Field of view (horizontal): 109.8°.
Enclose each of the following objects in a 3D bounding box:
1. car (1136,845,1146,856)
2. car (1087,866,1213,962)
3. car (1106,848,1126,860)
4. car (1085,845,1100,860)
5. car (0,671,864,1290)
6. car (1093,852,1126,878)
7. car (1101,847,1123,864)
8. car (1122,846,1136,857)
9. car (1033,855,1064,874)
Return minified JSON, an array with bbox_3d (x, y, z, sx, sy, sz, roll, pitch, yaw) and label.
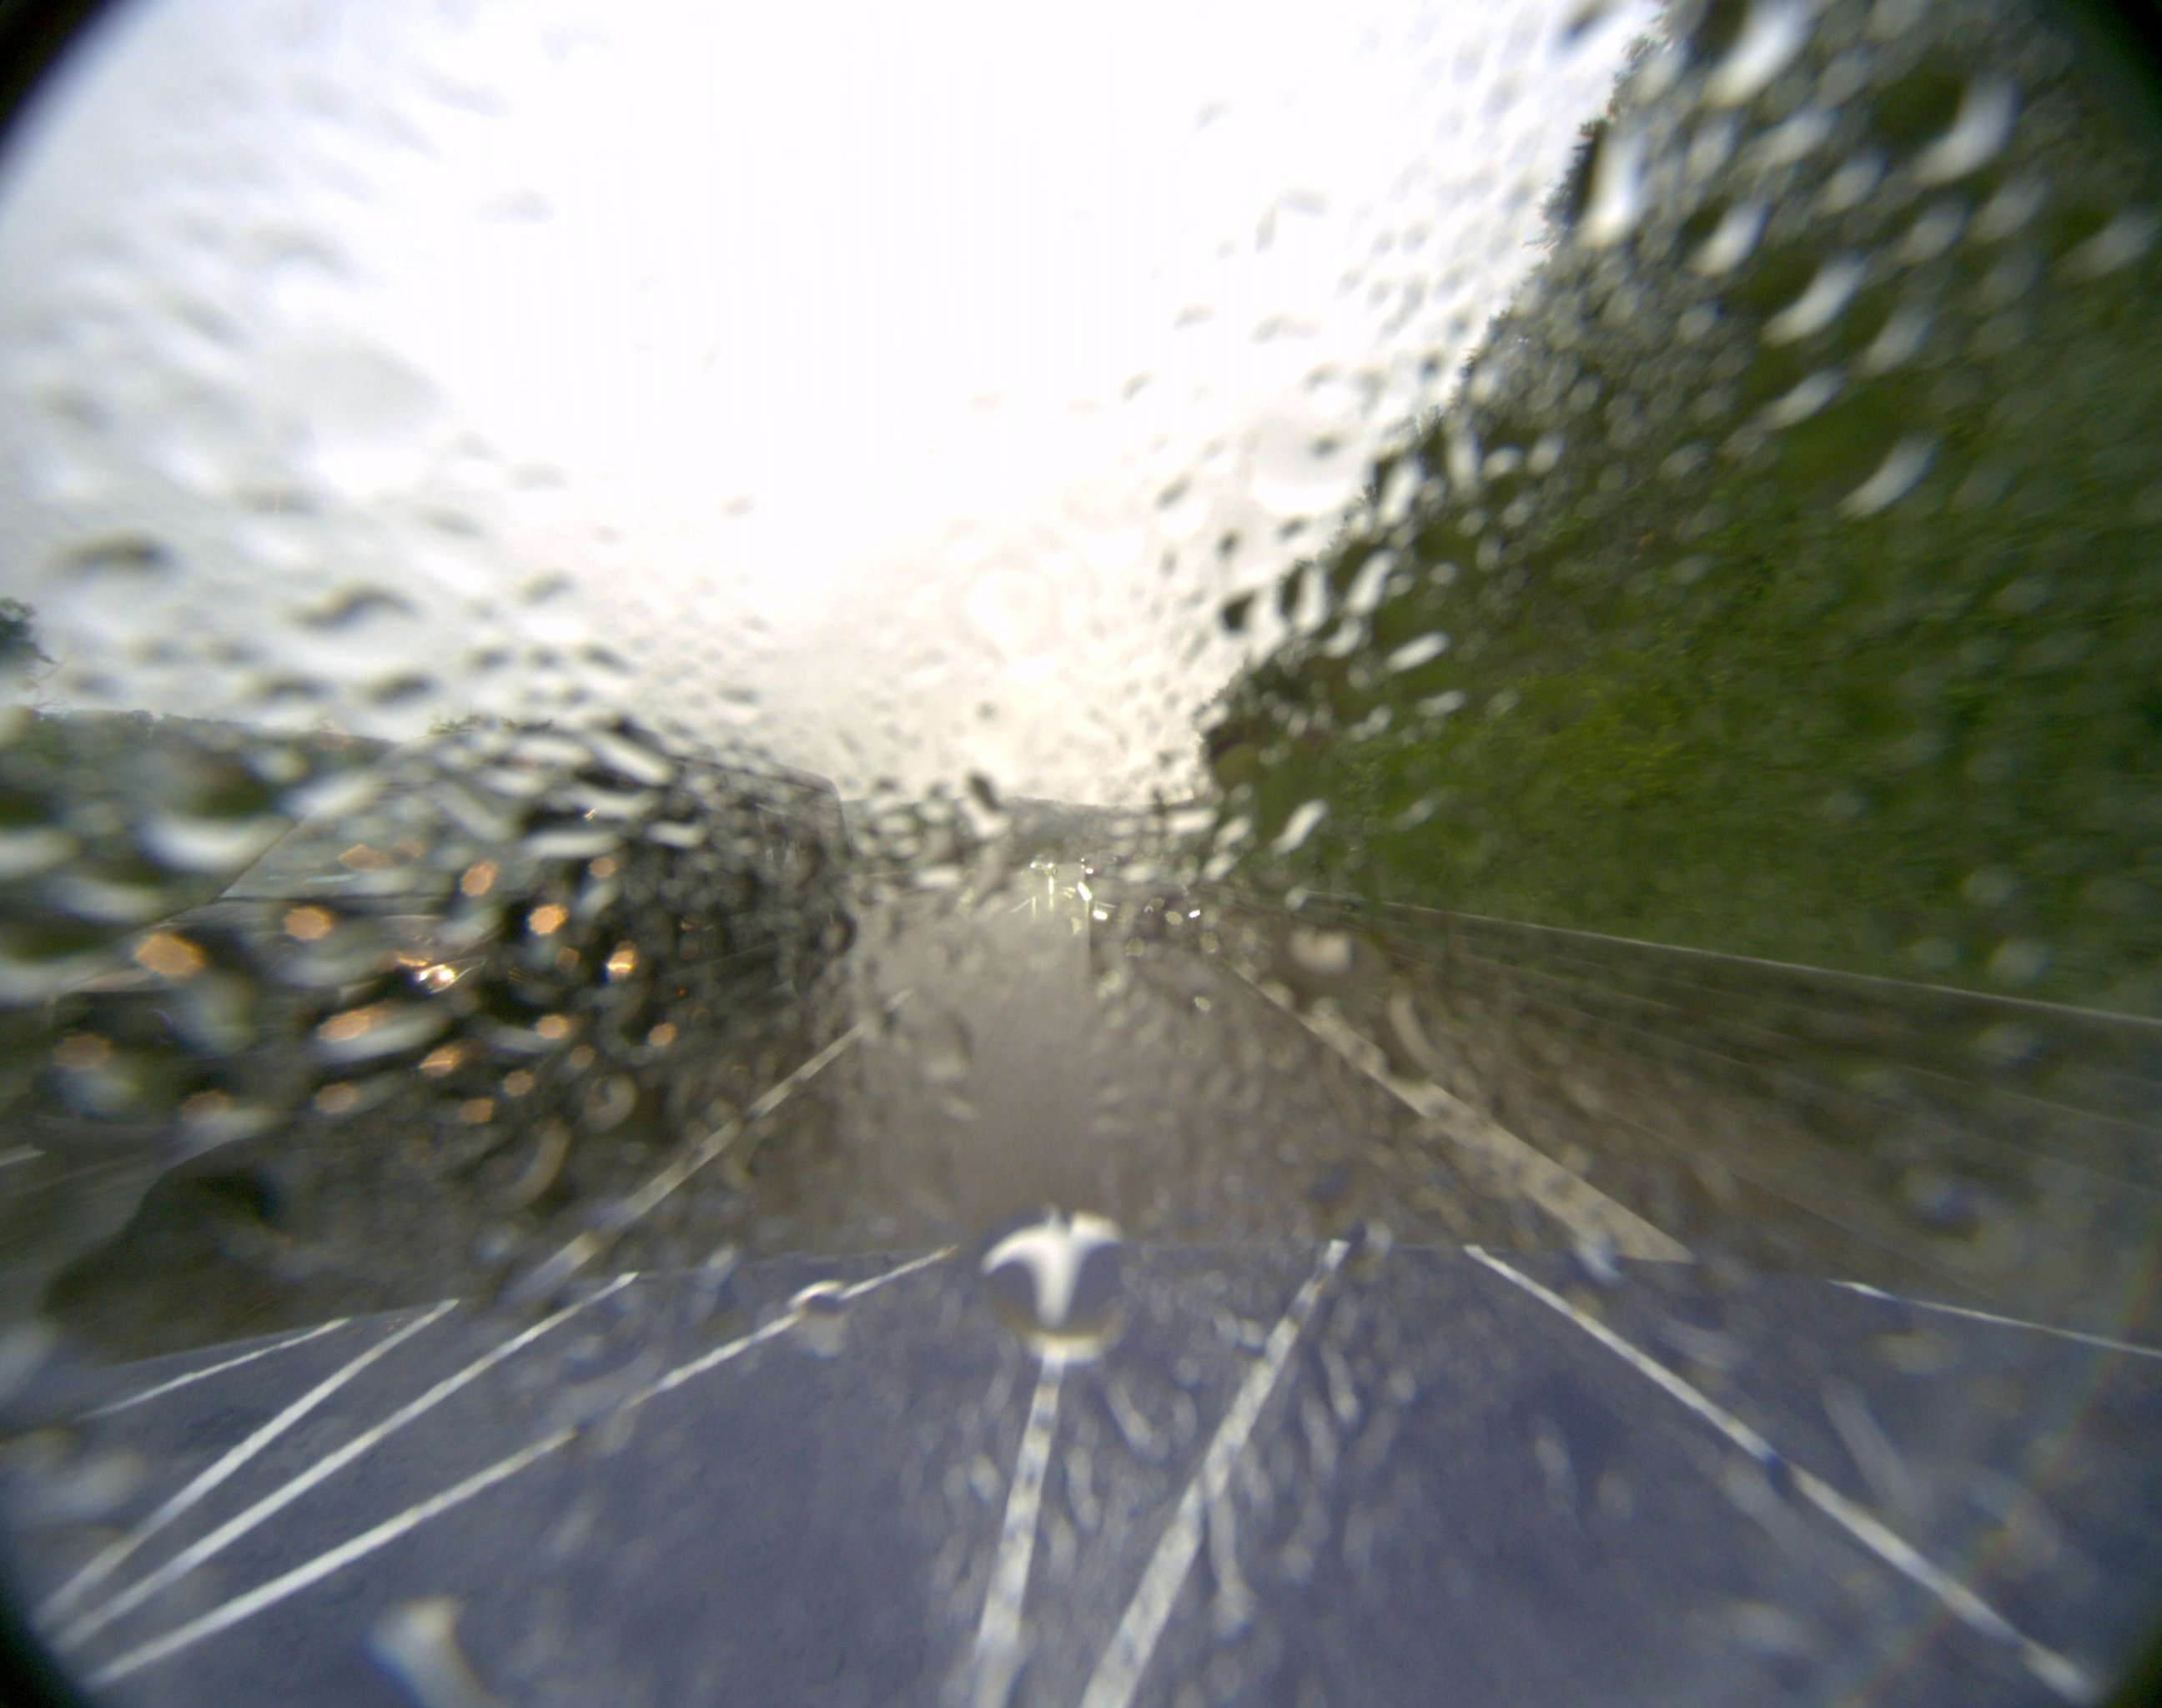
[{"bbox_3d":[10.328,-0.589,130.854,1.623,1.713,3.414,1,1,8],"label":"car"},{"bbox_3d":[1.046,0.924,13.430,1.839,1.316,4.135,-1,0,0],"label":"car"},{"bbox_3d":[4.296,-0.009,92.142,1.989,1.316,4.145,-2,1,9],"label":"car"},{"bbox_3d":[1.497,-0.245,99.751,1.765,1.851,3.768,-2,1,2],"label":"car"},{"bbox_3d":[-3.850,0.503,6.453,1.998,2.480,6.704,-2,1,0],"label":"car"},{"bbox_3d":[1.598,0.609,42.788,1.713,1.316,3.945,-2,1,2],"label":"car"},{"bbox_3d":[2.949,0.098,72.007,1.906,1.545,4.565,-2,1,4],"label":"car"},{"bbox_3d":[7.117,-0.389,112.278,1.657,1.535,3.665,-2,1,8],"label":"car"},{"bbox_3d":[-2.494,0.790,59.325,1.990,1.407,4.565,0,1,3],"label":"car"}]
